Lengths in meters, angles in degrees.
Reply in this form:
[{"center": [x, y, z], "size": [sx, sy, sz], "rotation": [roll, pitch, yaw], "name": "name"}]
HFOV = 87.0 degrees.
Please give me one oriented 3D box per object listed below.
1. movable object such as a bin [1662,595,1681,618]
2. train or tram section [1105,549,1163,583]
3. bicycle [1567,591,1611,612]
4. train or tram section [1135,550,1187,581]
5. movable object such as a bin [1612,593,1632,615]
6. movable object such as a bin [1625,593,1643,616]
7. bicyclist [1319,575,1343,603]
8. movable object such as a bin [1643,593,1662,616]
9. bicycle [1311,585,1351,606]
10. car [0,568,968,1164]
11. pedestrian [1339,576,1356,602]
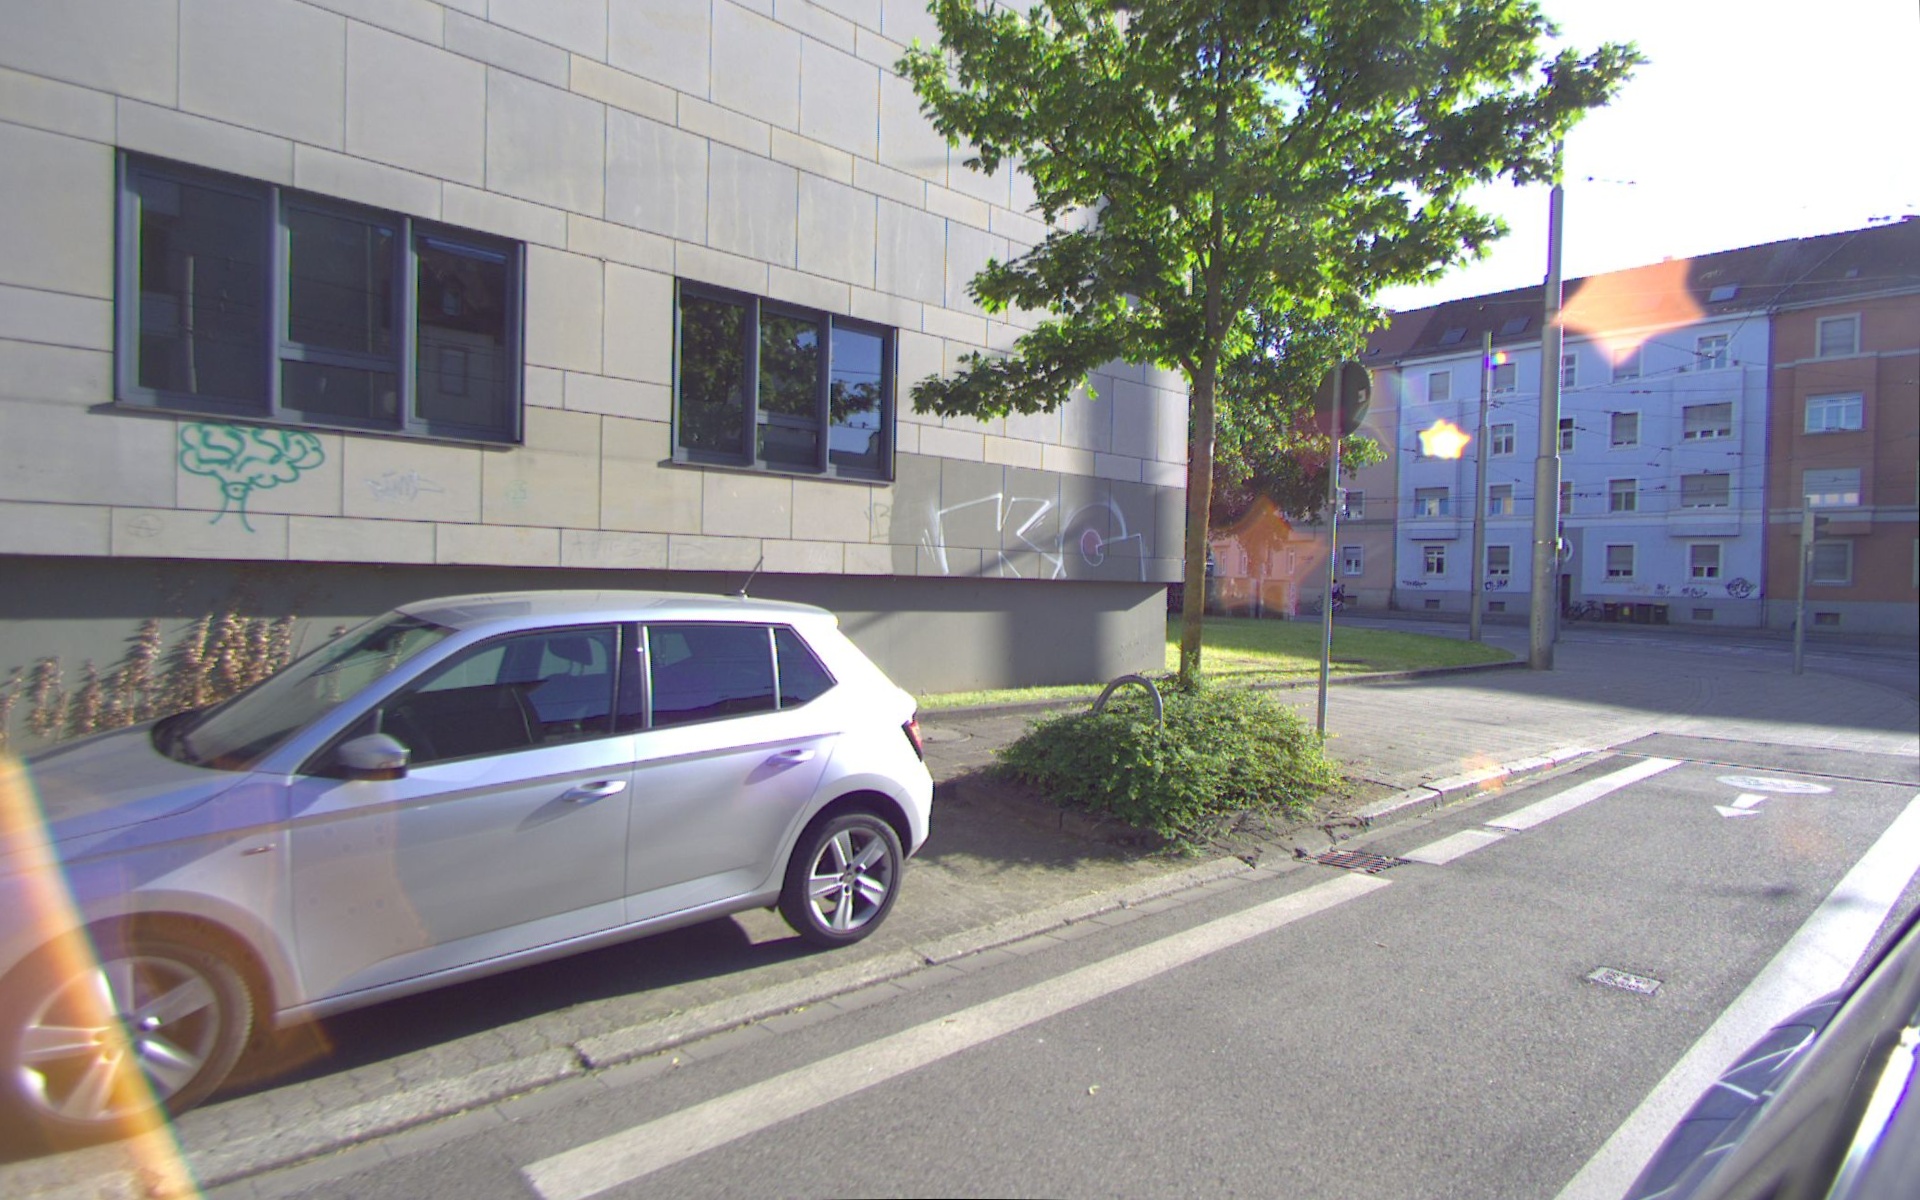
[{"center": [35.333, 0.333, 50.244], "size": [0.692, 1.120, 0.582], "rotation": [0, 2, -42], "name": "movable object such as a bin"}, {"center": [18.564, -3.644, 107.304], "size": [3.135, 3.397, 10.585], "rotation": [2, 3, 27], "name": "train or tram section"}, {"center": [32.976, 0.050, 53.058], "size": [0.597, 0.992, 1.874], "rotation": [-1, 3, -41], "name": "bicycle"}, {"center": [23.307, -4.016, 116.783], "size": [3.135, 3.397, 10.752], "rotation": [2, 3, 27], "name": "train or tram section"}, {"center": [33.915, 0.196, 51.854], "size": [0.692, 1.120, 0.647], "rotation": [0, 2, -42], "name": "movable object such as a bin"}, {"center": [34.304, 0.231, 51.475], "size": [0.692, 1.120, 0.582], "rotation": [0, 2, -42], "name": "movable object such as a bin"}, {"center": [22.572, -0.668, 61.564], "size": [0.736, 1.663, 1.124], "rotation": [0, 2, -41], "name": "bicyclist"}, {"center": [34.819, 0.231, 50.878], "size": [0.692, 1.120, 0.582], "rotation": [0, 2, -42], "name": "movable object such as a bin"}, {"center": [22.570, -0.276, 61.552], "size": [0.736, 1.205, 2.149], "rotation": [0, 2, -41], "name": "bicycle"}, {"center": [-1.963, 0.656, 4.025], "size": [3.846, 1.473, 1.645], "rotation": [0, 2, -41], "name": "car"}, {"center": [23.965, -0.659, 62.595], "size": [0.665, 1.583, 0.719], "rotation": [0, 2, -40], "name": "pedestrian"}]
